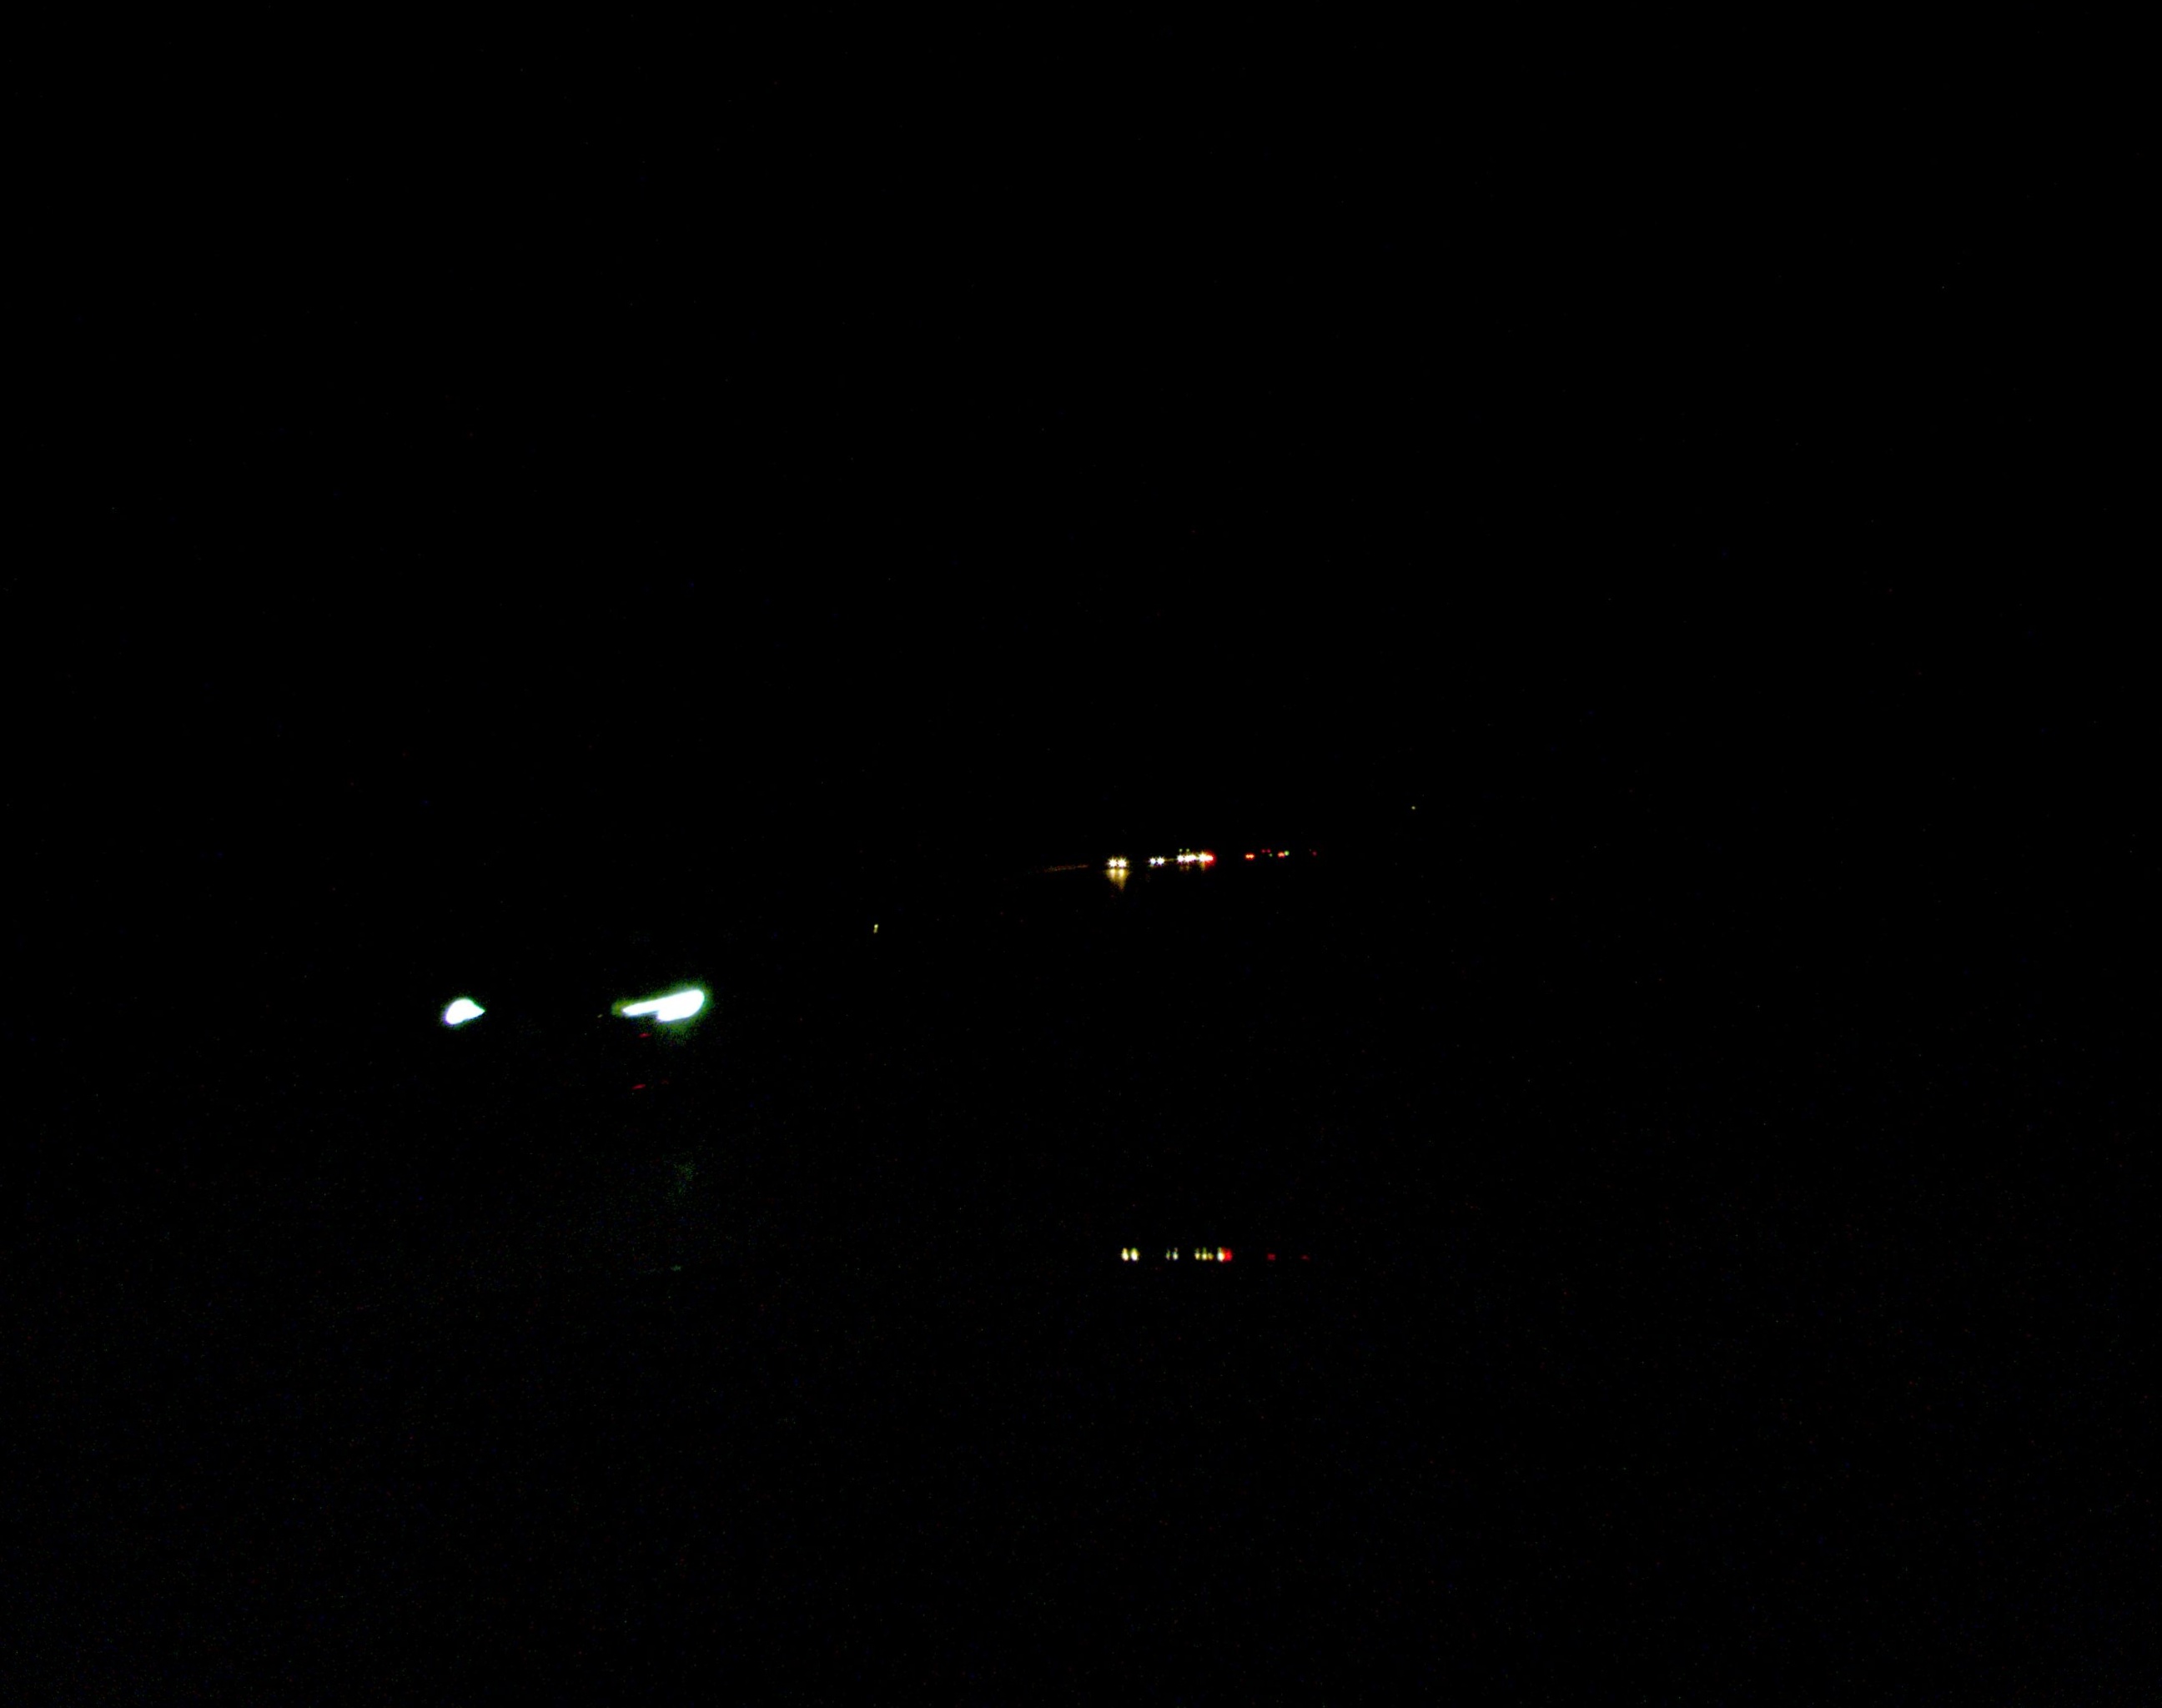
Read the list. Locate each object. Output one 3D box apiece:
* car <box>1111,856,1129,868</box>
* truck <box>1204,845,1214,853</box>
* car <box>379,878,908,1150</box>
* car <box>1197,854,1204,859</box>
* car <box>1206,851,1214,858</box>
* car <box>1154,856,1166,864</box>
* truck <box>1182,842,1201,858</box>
[{"bbox_3d":[5.005,1.018,97.219,1.811,1.508,3.938,1,0,9],"label":"car"},{"bbox_3d":[38.158,-1.457,226.752,2.424,2.410,7.099,0,0,15],"label":"truck"},{"bbox_3d":[-3.101,0.999,6.838,1.812,1.418,4.875,0,0,2],"label":"car"},{"bbox_3d":[37.414,0.804,238.031,1.689,1.619,4.729,1,0,17],"label":"car"},{"bbox_3d":[33.490,0.132,197.354,1.821,1.507,4.526,0,1,12],"label":"car"},{"bbox_3d":[15.666,1.253,150.349,1.811,1.508,3.939,1,0,12],"label":"car"},{"bbox_3d":[31.481,-1.196,215.872,2.968,4.250,17.163,0,1,17],"label":"truck"}]
